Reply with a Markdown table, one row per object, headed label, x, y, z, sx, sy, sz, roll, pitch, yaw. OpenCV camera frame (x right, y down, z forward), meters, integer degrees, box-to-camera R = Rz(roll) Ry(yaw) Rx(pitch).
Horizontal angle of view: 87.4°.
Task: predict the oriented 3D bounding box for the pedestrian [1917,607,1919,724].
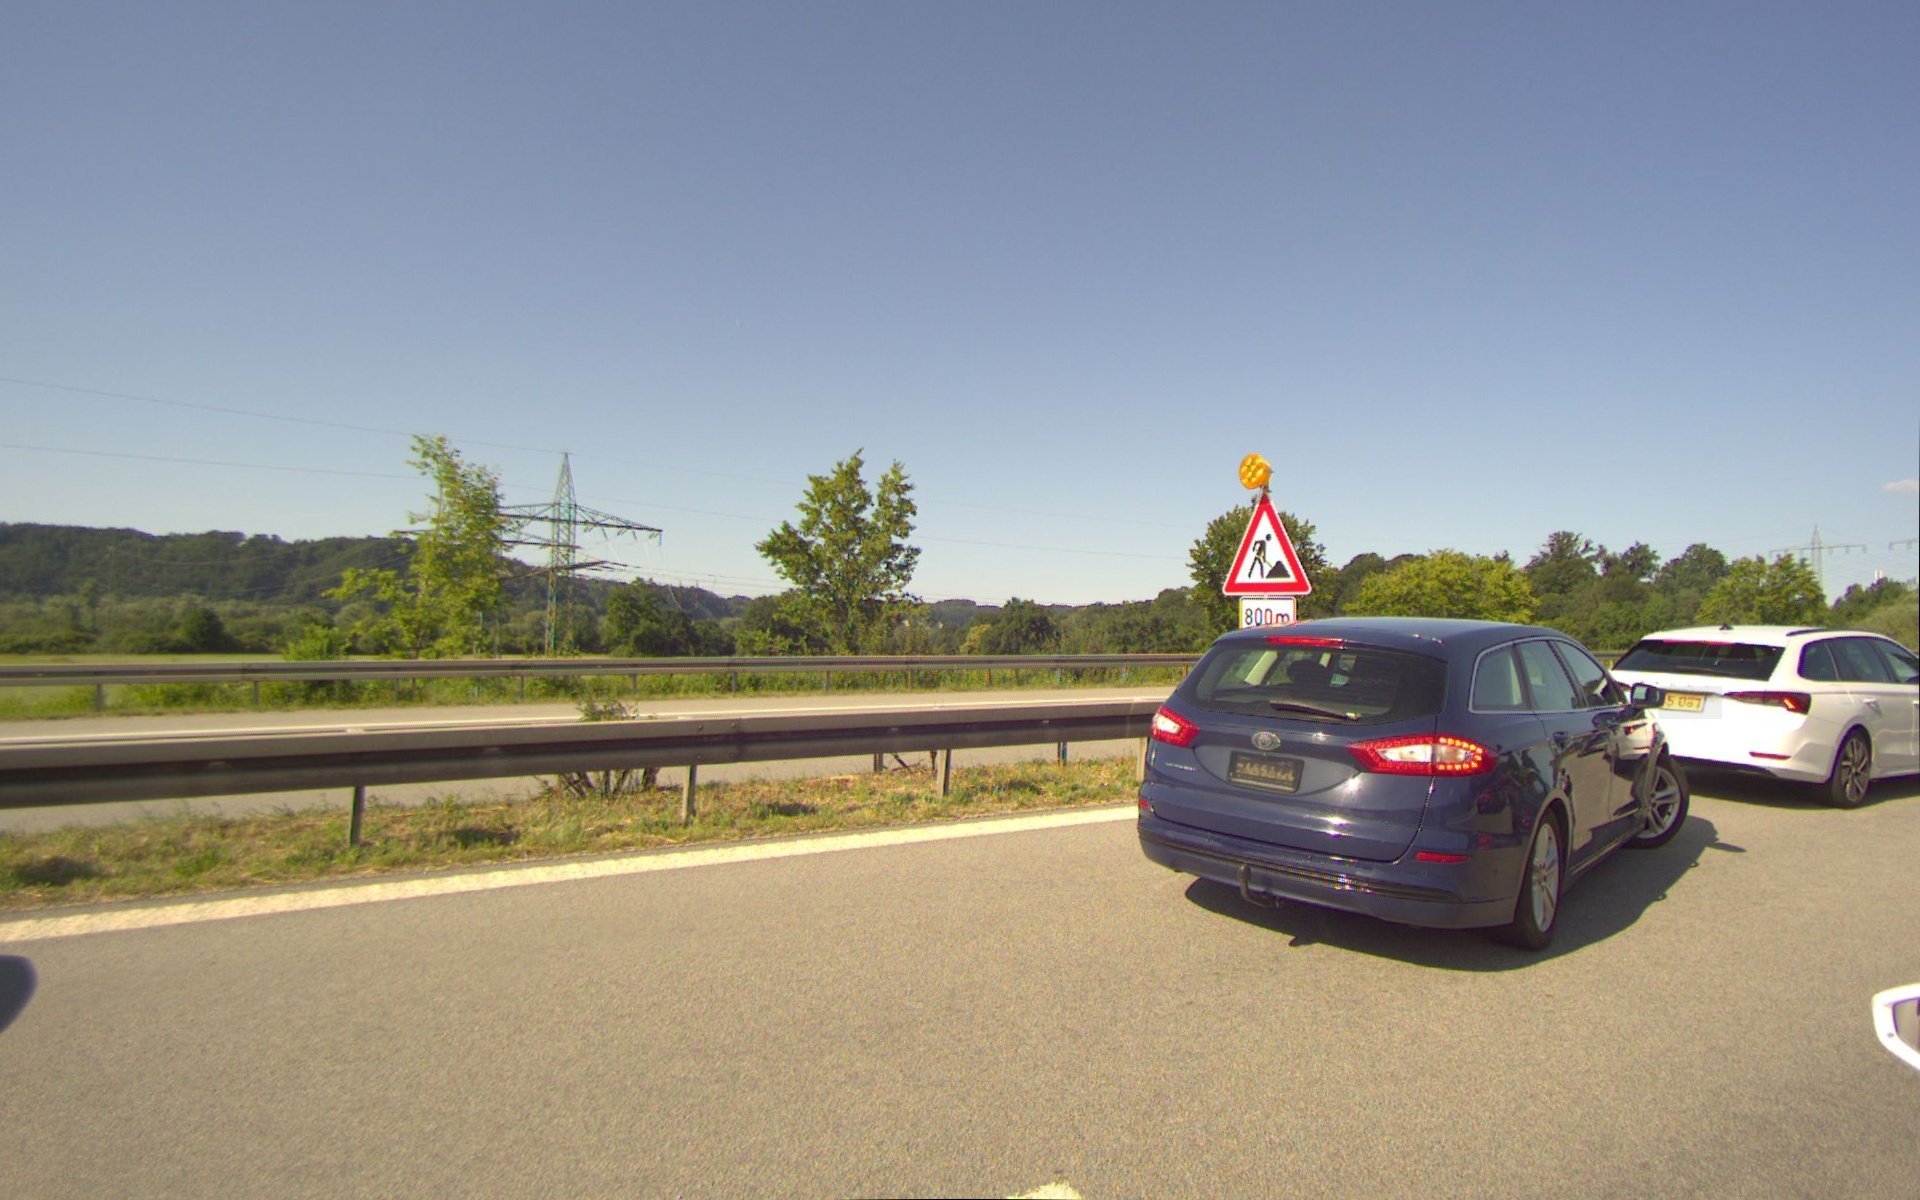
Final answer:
| label | x | y | z | sx | sy | sz | roll | pitch | yaw |
| --- | --- | --- | --- | --- | --- | --- | --- | --- | --- |
| pedestrian | 15.441 | 1.006 | 15.224 | 1.104 | 1.786 | 1.037 | 1 | -1 | -27 |

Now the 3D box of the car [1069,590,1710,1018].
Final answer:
| label | x | y | z | sx | sy | sz | roll | pitch | yaw |
| --- | --- | --- | --- | --- | --- | --- | --- | --- | --- |
| car | 2.745 | 0.784 | 5.760 | 4.462 | 1.513 | 1.771 | 2 | -2 | -43 |

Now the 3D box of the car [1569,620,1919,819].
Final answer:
| label | x | y | z | sx | sy | sz | roll | pitch | yaw |
| --- | --- | --- | --- | --- | --- | --- | --- | --- | --- |
| car | 7.727 | 0.963 | 9.367 | 4.159 | 1.461 | 1.687 | 1 | 0 | -29 |
